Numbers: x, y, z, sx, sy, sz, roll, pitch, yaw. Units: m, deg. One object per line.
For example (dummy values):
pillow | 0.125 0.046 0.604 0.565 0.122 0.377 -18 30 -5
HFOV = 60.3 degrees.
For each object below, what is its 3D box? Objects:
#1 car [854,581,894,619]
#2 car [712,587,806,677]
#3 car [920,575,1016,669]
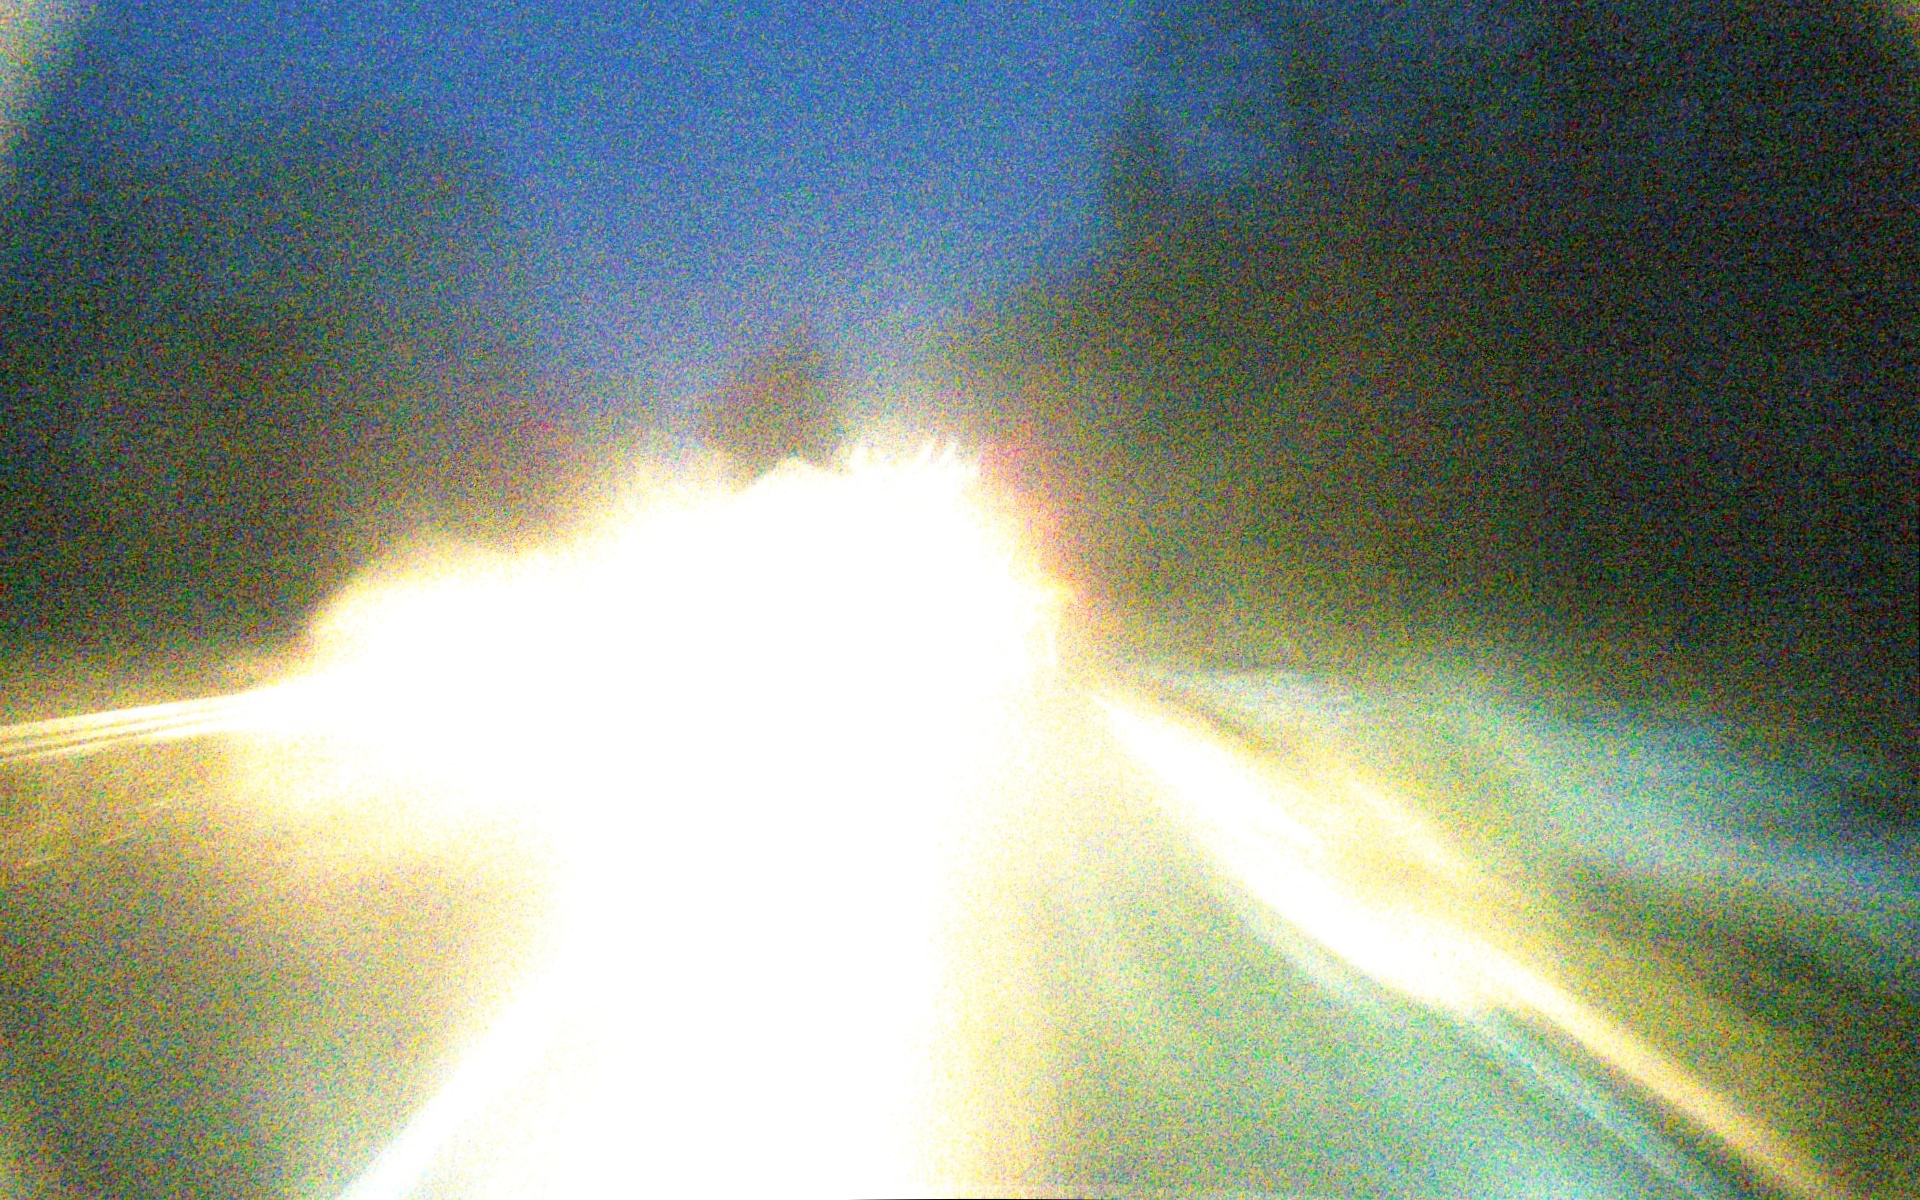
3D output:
car | -4.426 -0.024 85.782 1.953 1.812 3.999 -1 2 -2
car | -3.995 0.599 33.309 1.601 1.608 3.743 0 2 -3
car | 0.136 0.431 35.807 1.953 1.838 3.917 0 2 -1
